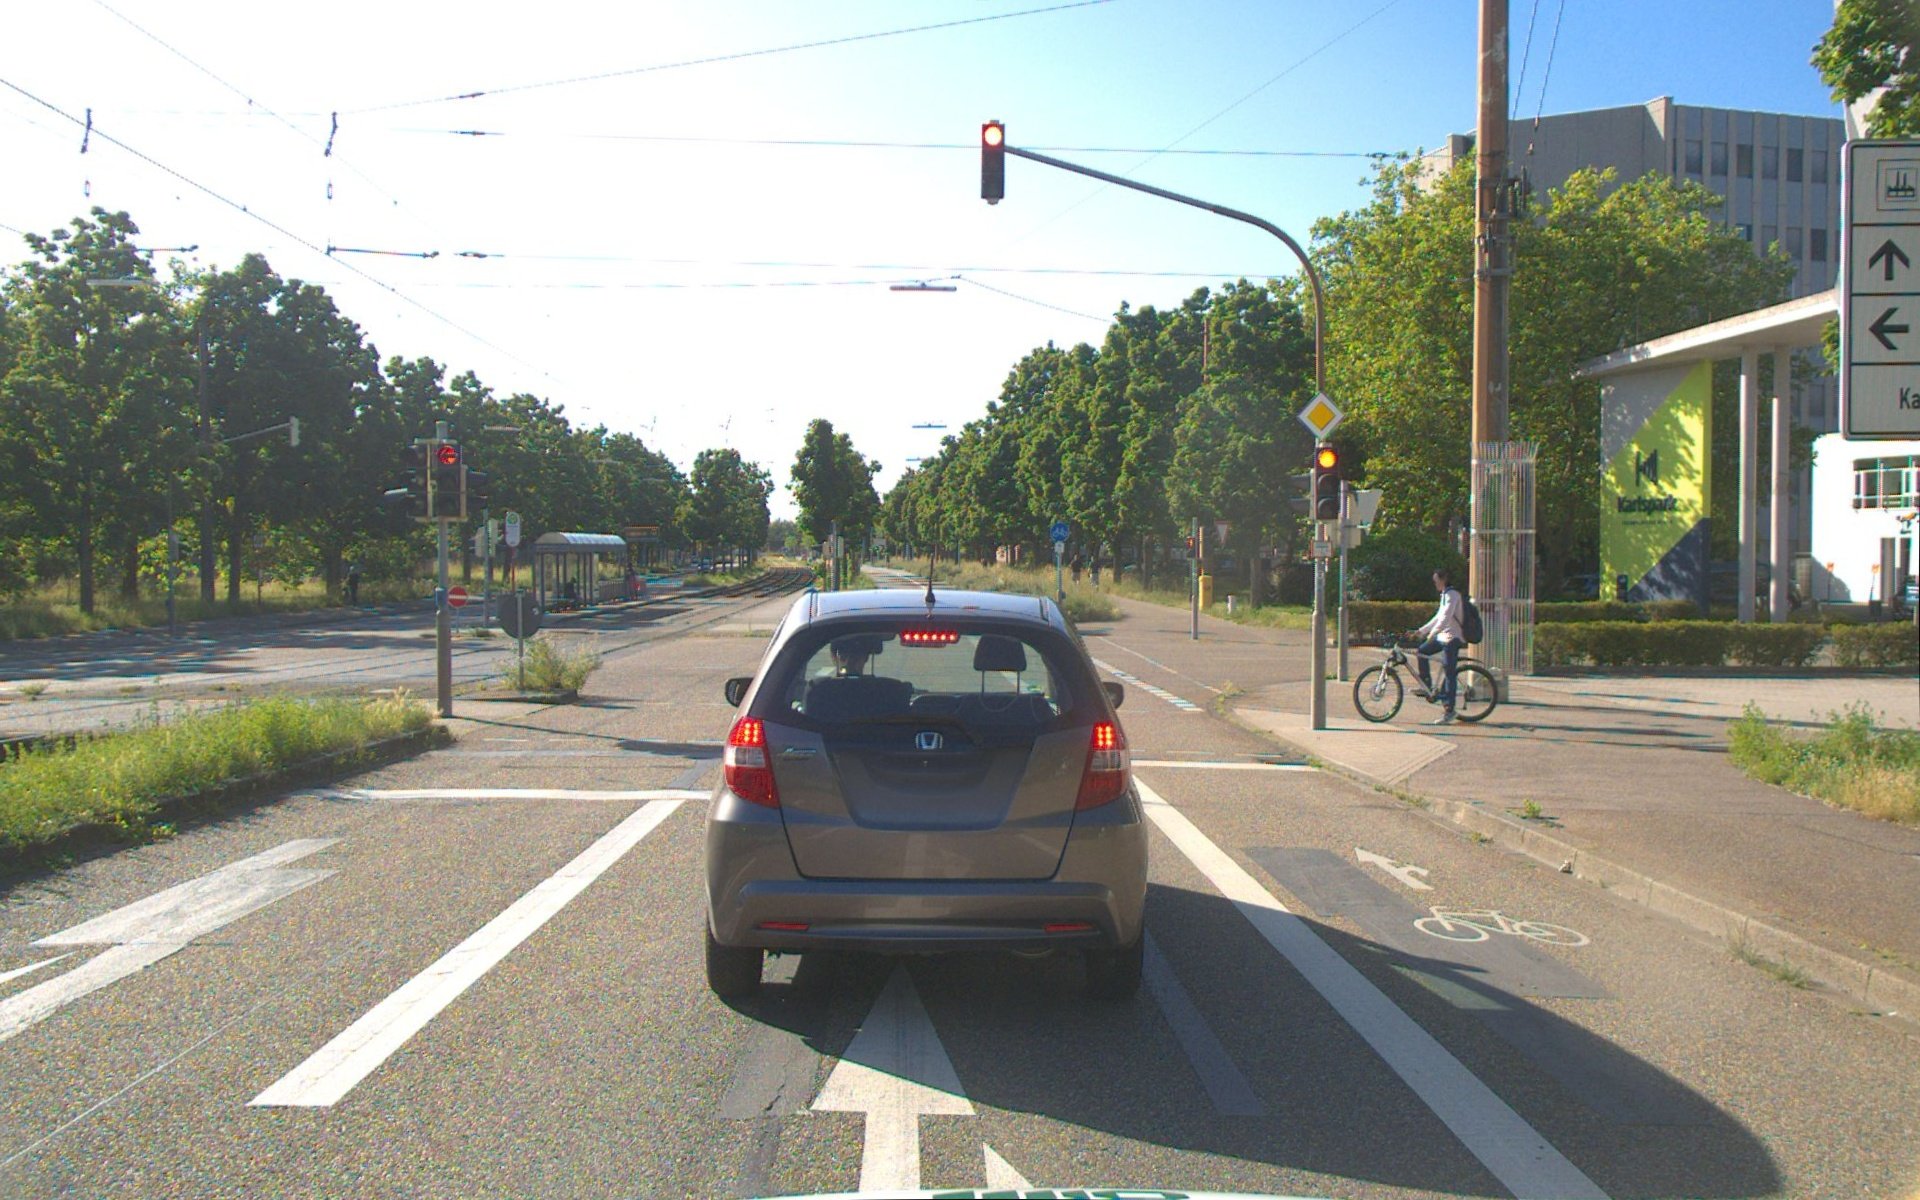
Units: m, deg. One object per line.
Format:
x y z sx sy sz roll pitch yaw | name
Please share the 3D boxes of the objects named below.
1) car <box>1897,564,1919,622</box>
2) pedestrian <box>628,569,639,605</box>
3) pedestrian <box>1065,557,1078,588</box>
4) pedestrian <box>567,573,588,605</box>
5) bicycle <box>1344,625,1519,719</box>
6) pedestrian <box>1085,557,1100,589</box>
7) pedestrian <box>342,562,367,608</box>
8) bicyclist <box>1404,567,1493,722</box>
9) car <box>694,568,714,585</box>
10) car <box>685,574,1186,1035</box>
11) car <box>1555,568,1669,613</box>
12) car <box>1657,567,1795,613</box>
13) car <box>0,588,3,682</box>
31.045 -0.199 50.545 3.915 1.750 1.895 0 1 -10 | car
-15.780 -0.636 79.947 0.493 1.705 0.387 0 0 -12 | pedestrian
5.757 -1.413 85.458 0.556 1.624 0.665 1 0 -5 | pedestrian
-15.119 -0.447 65.395 0.706 1.267 0.710 -1 1 -3 | pedestrian
5.529 0.842 19.492 1.879 1.015 0.765 -2 0 10 | bicycle
6.869 -1.407 85.526 0.664 1.638 0.720 1 0 -3 | pedestrian
-27.194 -0.670 74.309 0.823 2.049 0.863 0 0 -3 | pedestrian
5.732 0.517 19.448 0.890 1.775 0.765 -1 0 10 | bicyclist
-27.220 -2.540 176.023 1.731 1.768 3.998 0 0 -3 | car
-0.087 0.677 7.587 1.672 1.535 4.000 1 0 0 | car
26.659 -0.391 67.688 3.919 1.788 1.993 0 1 -14 | car
28.093 -0.360 60.689 4.459 1.658 1.870 0 0 -14 | car
-18.696 0.610 27.731 1.822 1.634 4.234 1 0 39 | car
